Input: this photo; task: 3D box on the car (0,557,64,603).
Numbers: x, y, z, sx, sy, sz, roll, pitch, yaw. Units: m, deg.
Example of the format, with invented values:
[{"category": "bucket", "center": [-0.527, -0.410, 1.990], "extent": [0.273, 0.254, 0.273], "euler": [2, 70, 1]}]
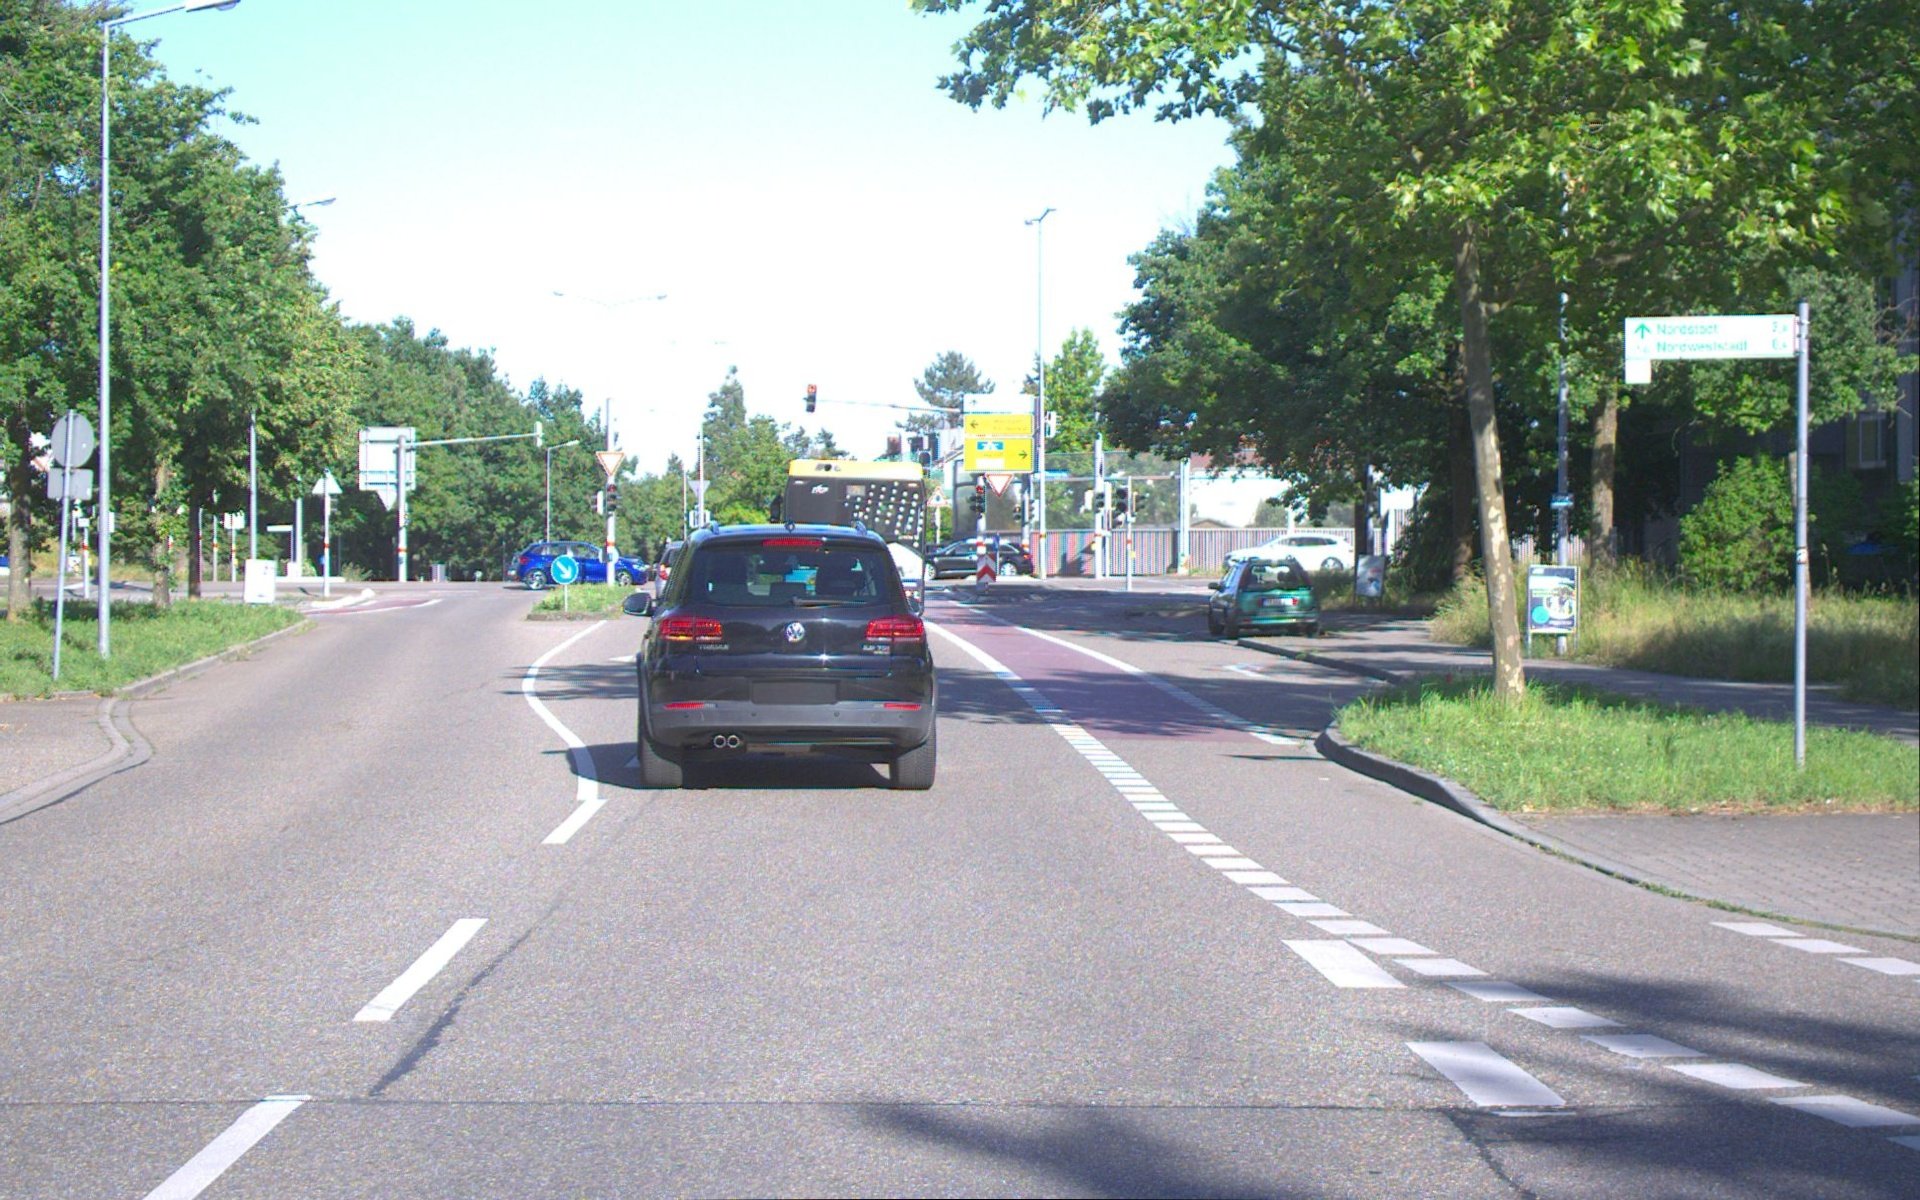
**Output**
[{"category": "car", "center": [-30.335, -0.653, 108.509], "extent": [3.845, 1.380, 1.683], "euler": [2, 0, -11]}]

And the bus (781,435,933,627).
[{"category": "bus", "center": [-2.094, -1.317, 66.693], "extent": [2.596, 3.323, 11.985], "euler": [2, 1, -3]}]

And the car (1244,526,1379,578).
[{"category": "car", "center": [12.300, -1.674, 120.354], "extent": [4.382, 1.677, 1.712], "euler": [2, 0, -7]}]

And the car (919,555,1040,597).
[{"category": "car", "center": [0.663, -0.817, 118.784], "extent": [3.890, 1.335, 1.683], "euler": [2, 0, -11]}]

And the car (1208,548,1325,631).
[{"category": "car", "center": [5.524, -0.196, 62.374], "extent": [1.592, 1.424, 4.204], "euler": [-1, 0, -2]}]

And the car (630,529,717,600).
[{"category": "car", "center": [-6.707, -0.818, 80.220], "extent": [1.753, 1.615, 4.034], "euler": [0, 0, -8]}]

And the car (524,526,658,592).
[{"category": "car", "center": [-11.222, -1.227, 104.491], "extent": [3.986, 1.873, 2.000], "euler": [2, 0, -7]}]

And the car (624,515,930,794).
[{"category": "car", "center": [-1.111, 0.326, 22.568], "extent": [1.821, 1.668, 4.003], "euler": [0, 0, 0]}]

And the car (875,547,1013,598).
[{"category": "car", "center": [-0.422, -0.755, 92.605], "extent": [3.523, 1.298, 1.574], "euler": [1, 1, 6]}]
